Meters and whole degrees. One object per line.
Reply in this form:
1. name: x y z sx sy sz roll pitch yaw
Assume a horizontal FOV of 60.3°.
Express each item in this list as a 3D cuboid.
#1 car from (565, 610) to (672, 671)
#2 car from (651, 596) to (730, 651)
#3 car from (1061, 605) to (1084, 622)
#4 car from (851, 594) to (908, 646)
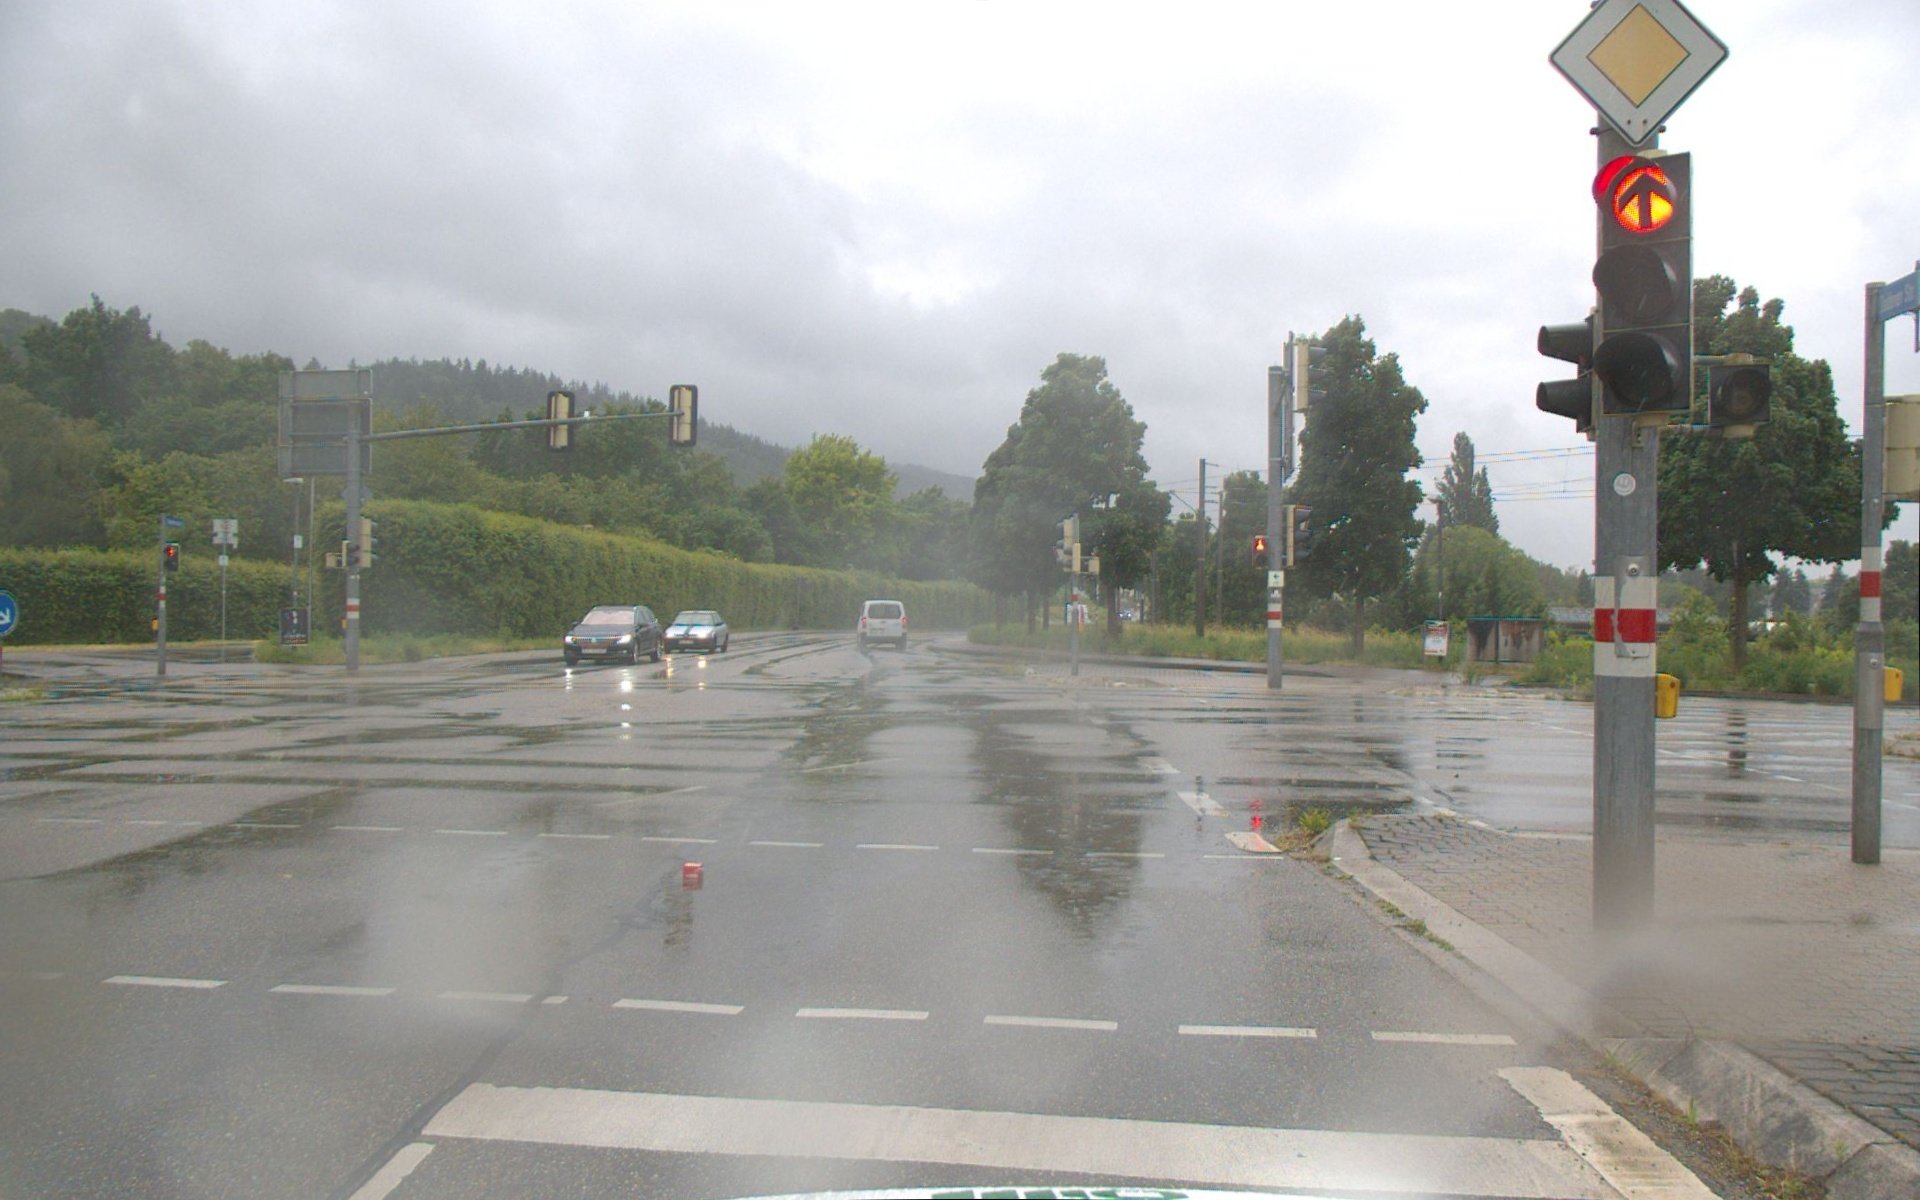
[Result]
1. car: -8.885 1.008 43.371 1.673 1.491 4.454 0 0 3
2. car: -8.952 0.757 55.235 1.995 1.738 4.065 1 0 -1
3. car: 12.423 1.474 182.075 1.891 1.923 4.065 0 0 13
4. car: -3.162 0.751 64.387 1.916 1.937 4.113 0 0 -7
